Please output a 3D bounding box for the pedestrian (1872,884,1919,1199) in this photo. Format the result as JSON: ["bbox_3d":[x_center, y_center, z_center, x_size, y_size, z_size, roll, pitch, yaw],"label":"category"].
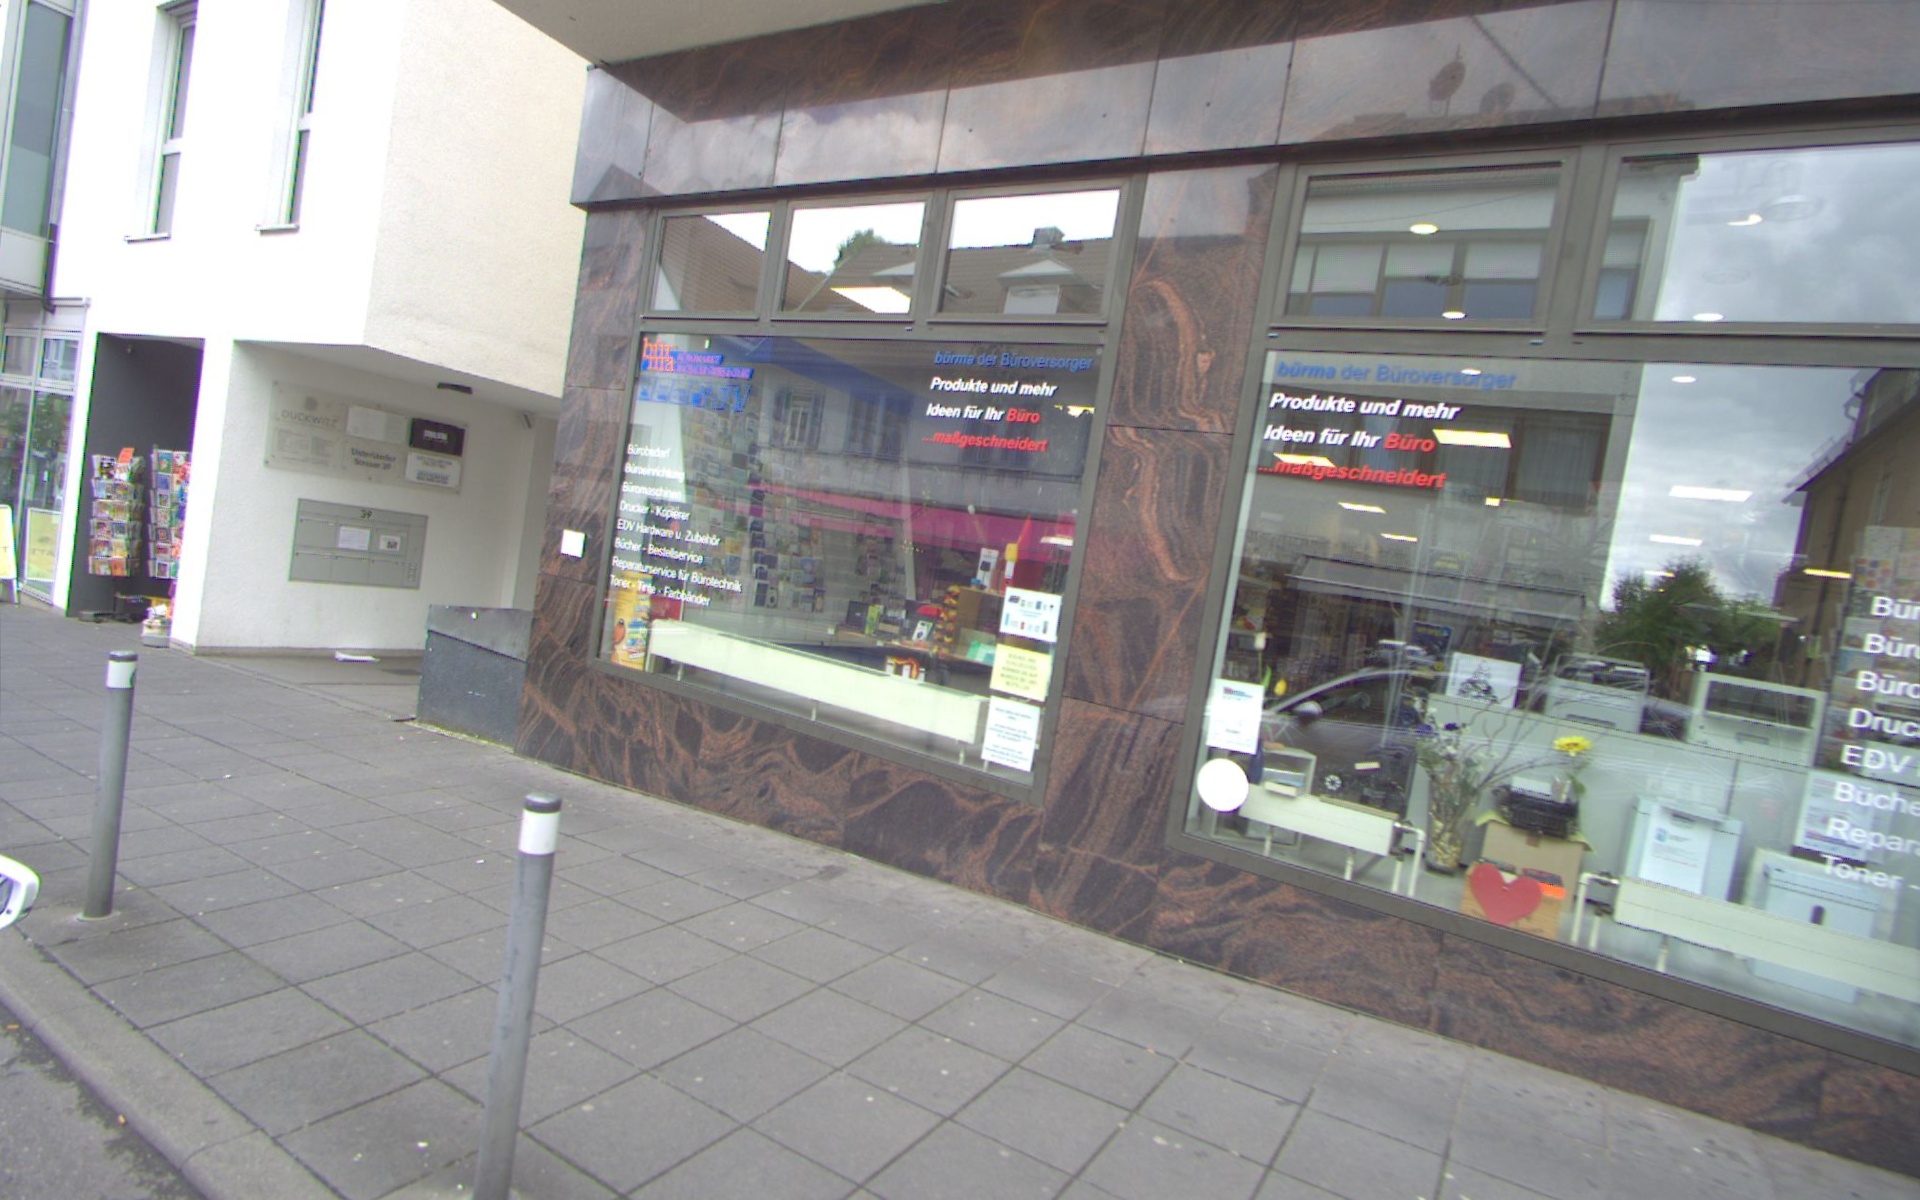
[{"bbox_3d":[2.866,0.868,2.491,0.533,1.713,0.663,7,4,26],"label":"pedestrian"}]
